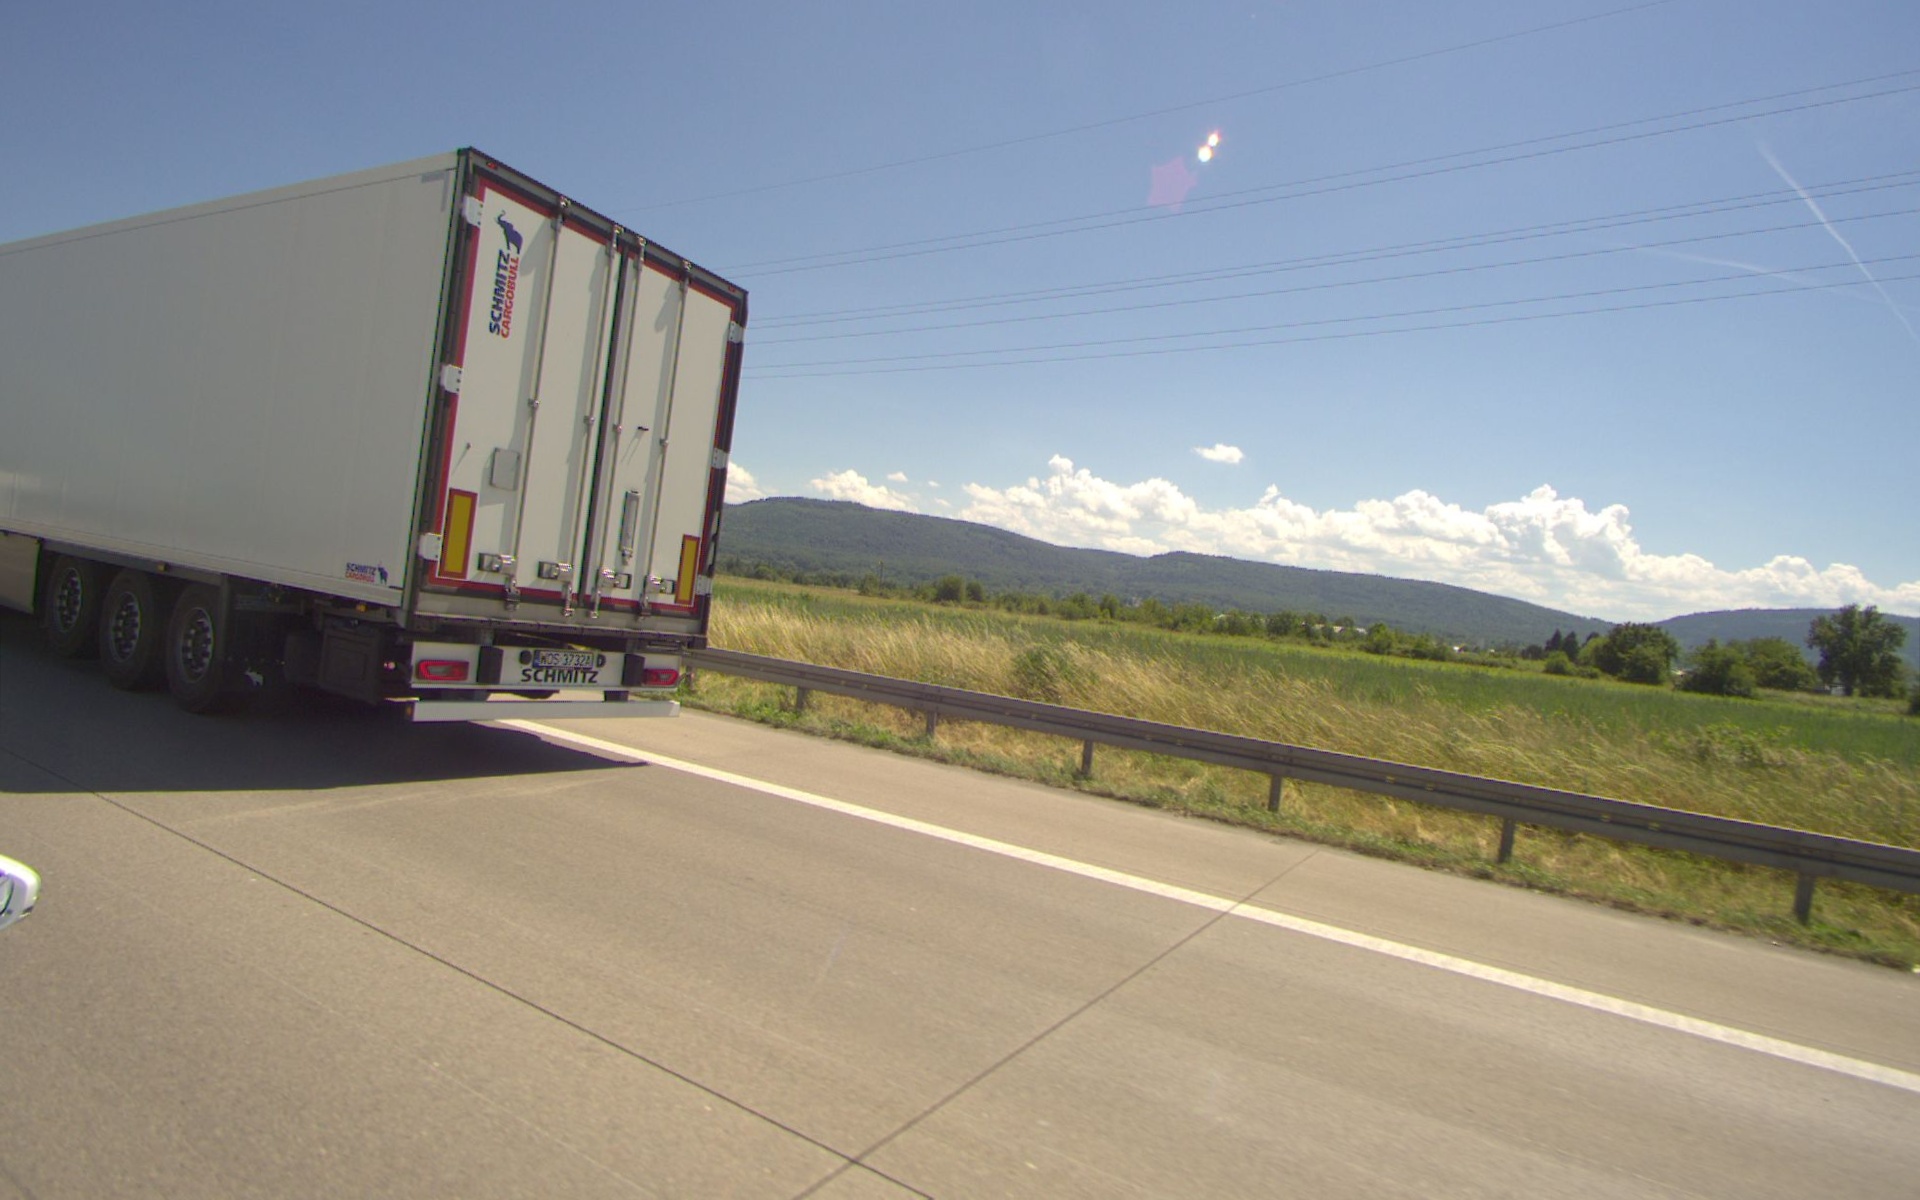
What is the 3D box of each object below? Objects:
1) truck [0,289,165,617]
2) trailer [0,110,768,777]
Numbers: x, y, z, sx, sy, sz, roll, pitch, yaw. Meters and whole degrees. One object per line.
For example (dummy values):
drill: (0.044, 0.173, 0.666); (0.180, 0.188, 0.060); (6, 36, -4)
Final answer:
truck: (-14.650, -2.176, 14.656); (5.374, 4.091, 2.755); (6, -1, 31)
trailer: (-7.931, -1.427, 10.568); (12.687, 4.091, 2.714); (6, -1, 31)
